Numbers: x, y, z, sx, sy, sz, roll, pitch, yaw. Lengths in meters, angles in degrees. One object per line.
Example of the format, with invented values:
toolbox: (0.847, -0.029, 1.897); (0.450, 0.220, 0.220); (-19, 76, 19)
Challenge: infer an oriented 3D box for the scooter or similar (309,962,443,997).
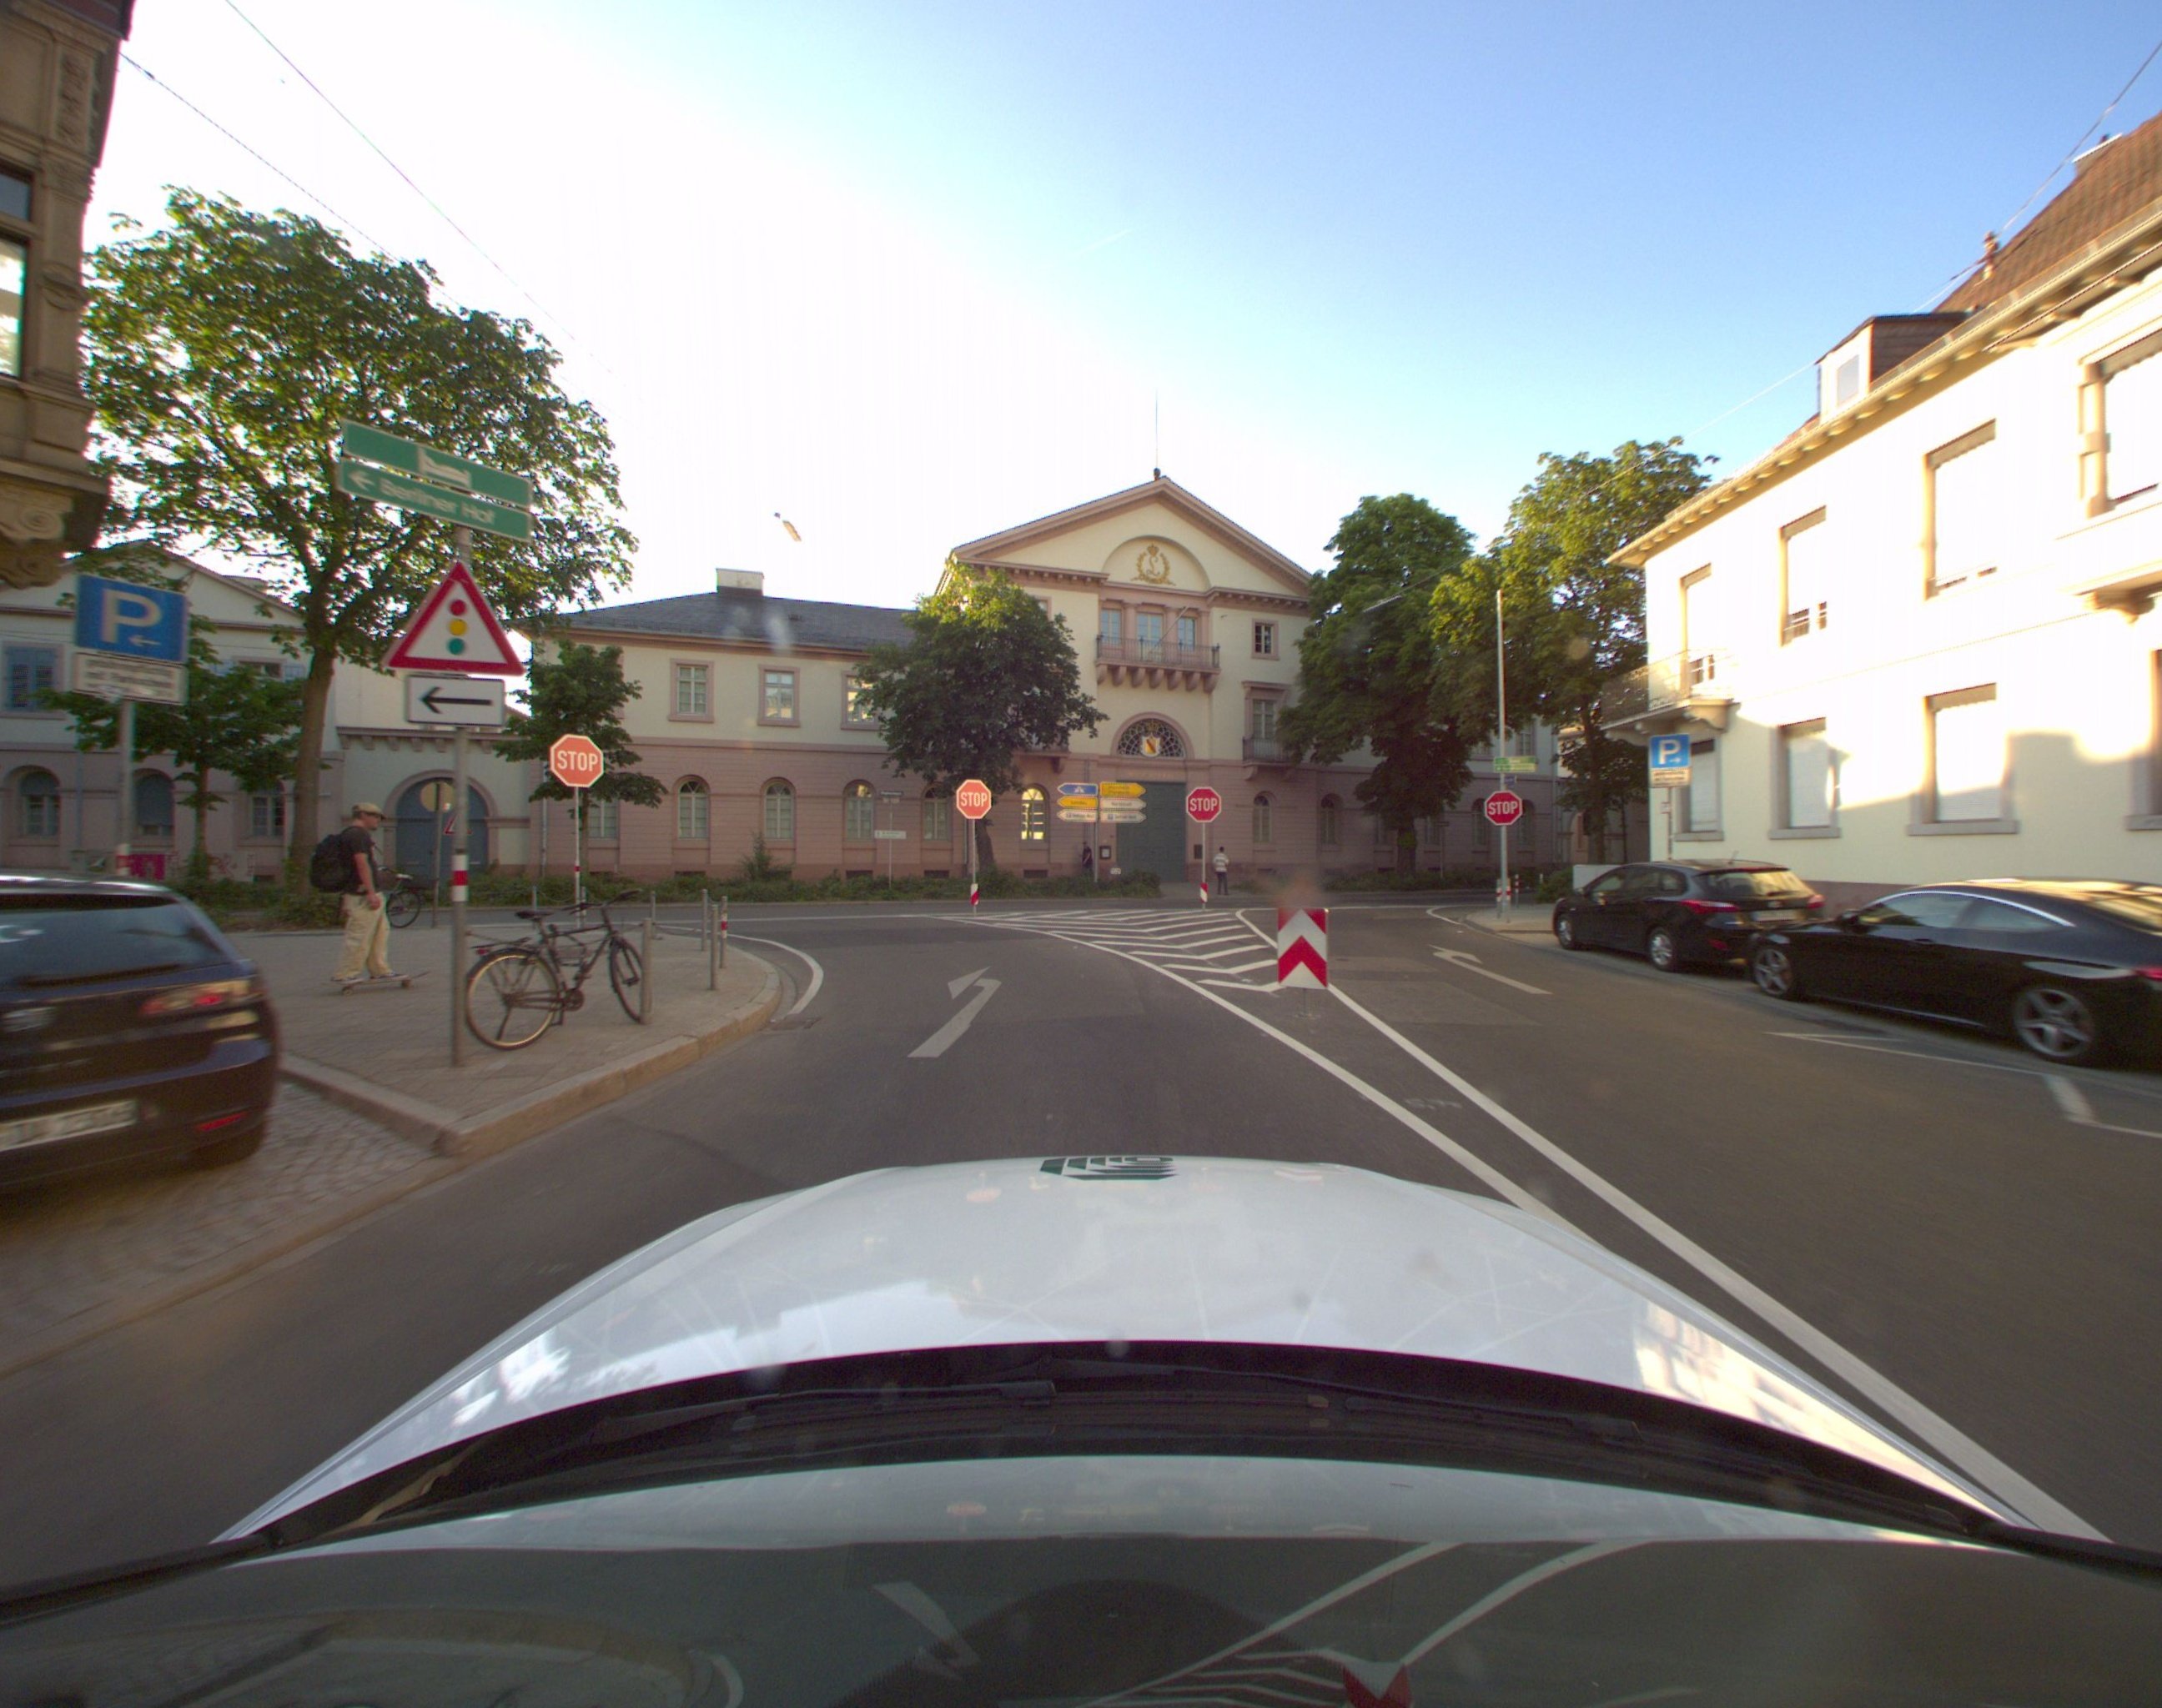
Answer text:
scooter or similar: (-6.802, 1.201, 7.885); (0.413, 0.207, 0.887); (0, -1, 29)

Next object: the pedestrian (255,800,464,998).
pedestrian: (-6.960, 0.375, 7.906); (0.840, 1.739, 1.274); (0, 1, 29)

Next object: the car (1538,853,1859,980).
car: (8.829, 0.762, 12.228); (1.793, 1.541, 4.438); (0, 0, 5)

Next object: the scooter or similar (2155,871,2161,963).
scooter or similar: (9.798, 0.754, 6.421); (0.597, 1.233, 1.777); (-3, -1, 15)

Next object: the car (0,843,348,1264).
car: (-5.673, 0.740, 4.107); (3.815, 1.461, 1.751); (3, 1, 29)

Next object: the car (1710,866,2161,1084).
car: (8.341, 0.846, 7.528); (1.764, 1.395, 4.867); (0, 0, 7)

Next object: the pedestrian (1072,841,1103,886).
pedestrian: (0.264, 0.402, 33.892); (1.082, 1.839, 0.796); (0, 0, -18)

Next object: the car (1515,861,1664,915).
car: (16.773, 1.058, 27.098); (1.828, 1.615, 3.974); (0, 0, -19)

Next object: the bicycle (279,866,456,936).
bicycle: (-13.610, 0.874, 15.597); (2.558, 1.267, 0.845); (0, 0, -3)

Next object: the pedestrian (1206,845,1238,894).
pedestrian: (5.386, 0.579, 31.225); (0.930, 1.832, 0.795); (0, 0, -22)

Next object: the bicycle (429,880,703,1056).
bicycle: (-3.995, 0.811, 6.530); (0.721, 1.126, 1.810); (2, 0, 14)
